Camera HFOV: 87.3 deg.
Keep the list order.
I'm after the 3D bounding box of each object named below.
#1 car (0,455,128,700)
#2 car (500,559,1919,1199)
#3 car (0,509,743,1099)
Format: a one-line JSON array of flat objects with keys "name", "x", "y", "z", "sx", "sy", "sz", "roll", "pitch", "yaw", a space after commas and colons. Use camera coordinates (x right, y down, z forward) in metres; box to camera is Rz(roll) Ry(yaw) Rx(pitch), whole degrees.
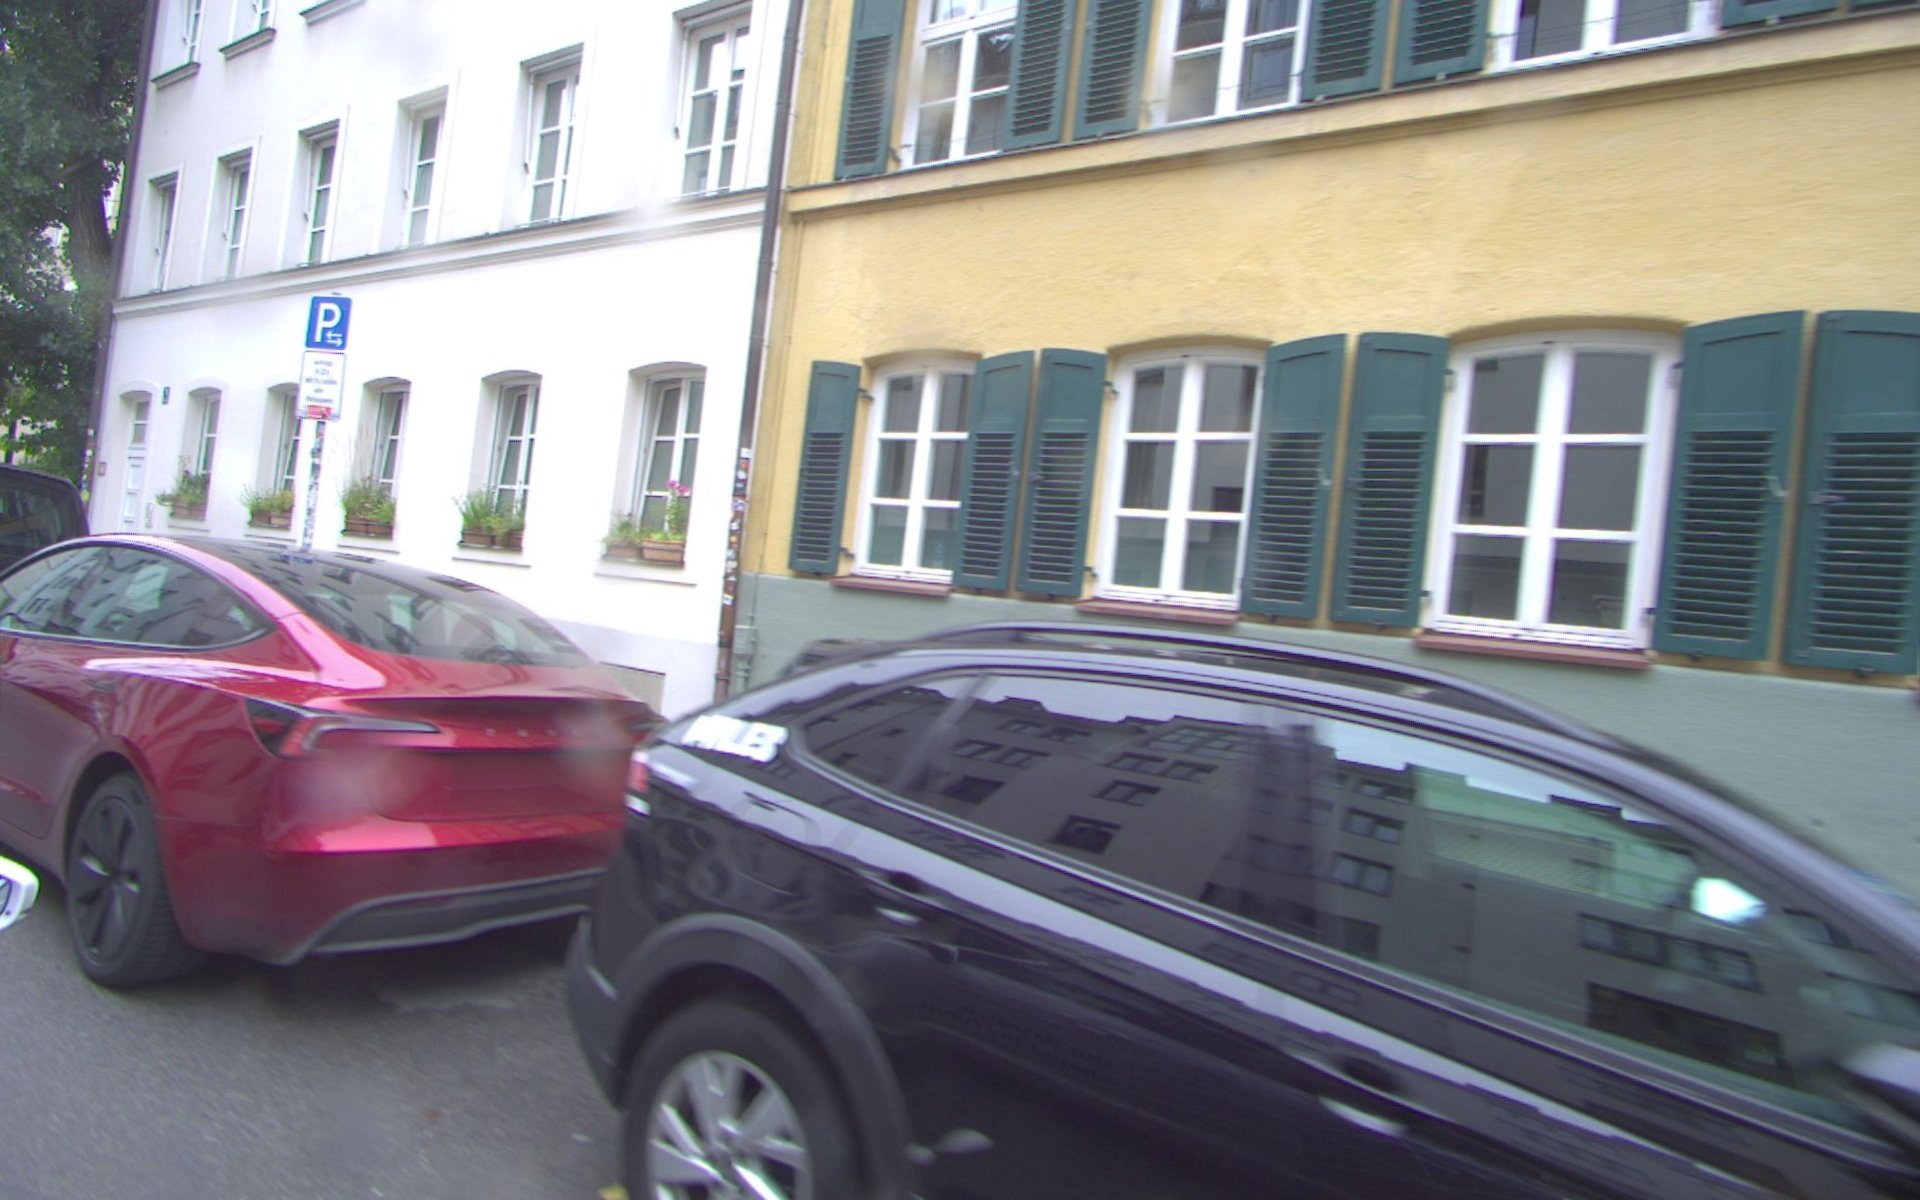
[{"name": "car", "x": -9.044, "y": -0.386, "z": 8.423, "sx": 4.132, "sy": 1.796, "sz": 1.851, "roll": 6, "pitch": -3, "yaw": 32}, {"name": "car", "x": 1.080, "y": 0.910, "z": 2.129, "sx": 3.934, "sy": 1.482, "sz": 1.748, "roll": 7, "pitch": 0, "yaw": 32}, {"name": "car", "x": -3.271, "y": 0.457, "z": 4.516, "sx": 4.382, "sy": 1.441, "sz": 1.716, "roll": 7, "pitch": -1, "yaw": 31}]
